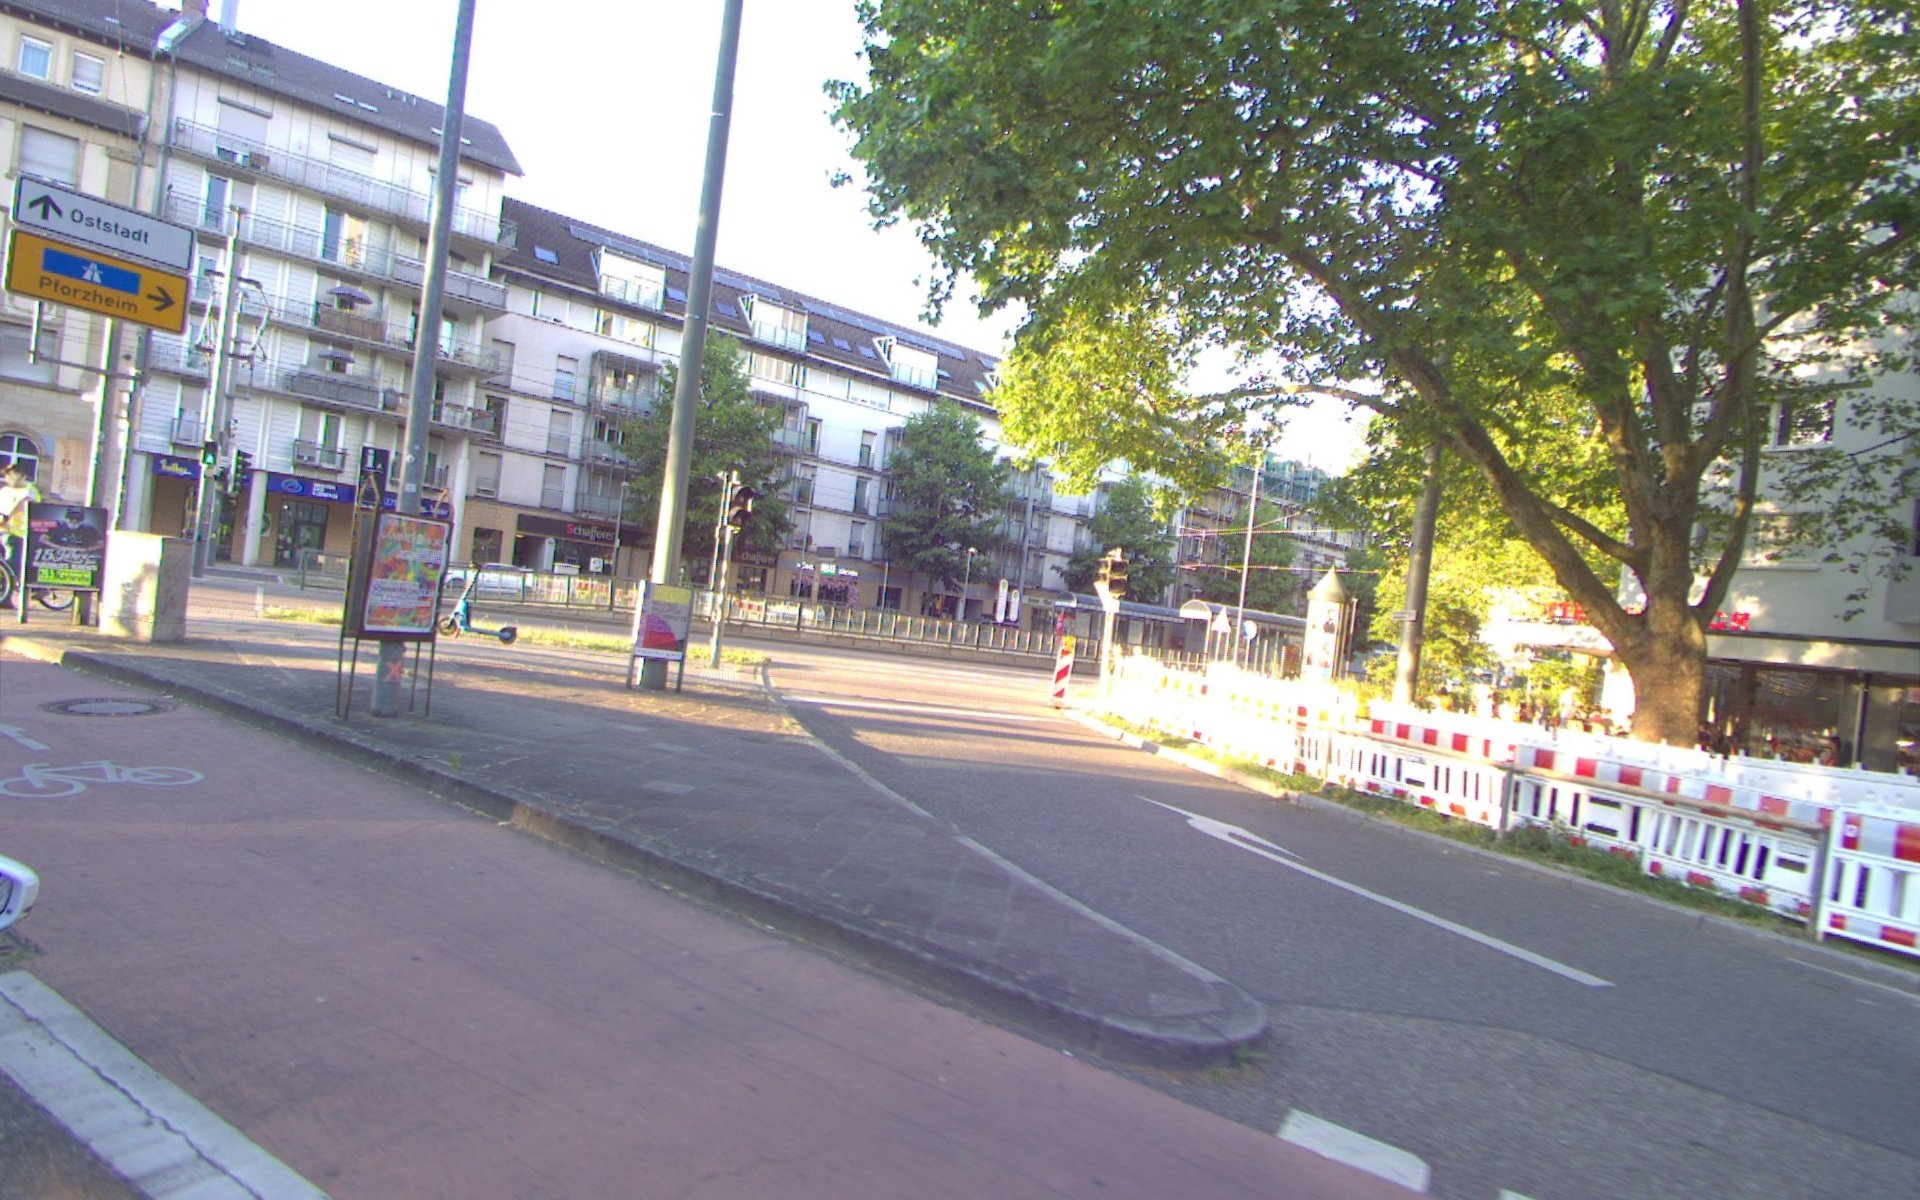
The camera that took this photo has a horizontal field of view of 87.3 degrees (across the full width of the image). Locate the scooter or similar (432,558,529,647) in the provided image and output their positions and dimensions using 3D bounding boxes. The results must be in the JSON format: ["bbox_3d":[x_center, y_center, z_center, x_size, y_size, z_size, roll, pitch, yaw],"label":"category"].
[{"bbox_3d":[-7.679,0.047,16.162,1.217,1.264,0.513,7,-1,-19],"label":"scooter or similar"}]

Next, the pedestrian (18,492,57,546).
[{"bbox_3d":[-33.014,-2.877,35.997,0.782,1.799,0.539,7,-1,-33],"label":"pedestrian"}]

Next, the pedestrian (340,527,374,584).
[{"bbox_3d":[-24.877,-1.834,41.511,0.864,2.234,0.812,8,-1,-39],"label":"pedestrian"}]

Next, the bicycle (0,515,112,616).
[{"bbox_3d":[-11.364,-0.428,12.005,0.617,1.122,2.073,7,-2,0],"label":"bicycle"}]

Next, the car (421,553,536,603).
[{"bbox_3d":[-19.812,-0.892,41.447,3.964,1.503,1.833,9,-2,-34],"label":"car"}]

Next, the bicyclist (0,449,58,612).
[{"bbox_3d":[-11.314,-0.825,11.789,0.617,1.845,0.699,7,-1,0],"label":"bicyclist"}]

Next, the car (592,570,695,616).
[{"bbox_3d":[-14.275,-0.317,45.474,3.970,1.503,1.830,9,-3,-39],"label":"car"}]
